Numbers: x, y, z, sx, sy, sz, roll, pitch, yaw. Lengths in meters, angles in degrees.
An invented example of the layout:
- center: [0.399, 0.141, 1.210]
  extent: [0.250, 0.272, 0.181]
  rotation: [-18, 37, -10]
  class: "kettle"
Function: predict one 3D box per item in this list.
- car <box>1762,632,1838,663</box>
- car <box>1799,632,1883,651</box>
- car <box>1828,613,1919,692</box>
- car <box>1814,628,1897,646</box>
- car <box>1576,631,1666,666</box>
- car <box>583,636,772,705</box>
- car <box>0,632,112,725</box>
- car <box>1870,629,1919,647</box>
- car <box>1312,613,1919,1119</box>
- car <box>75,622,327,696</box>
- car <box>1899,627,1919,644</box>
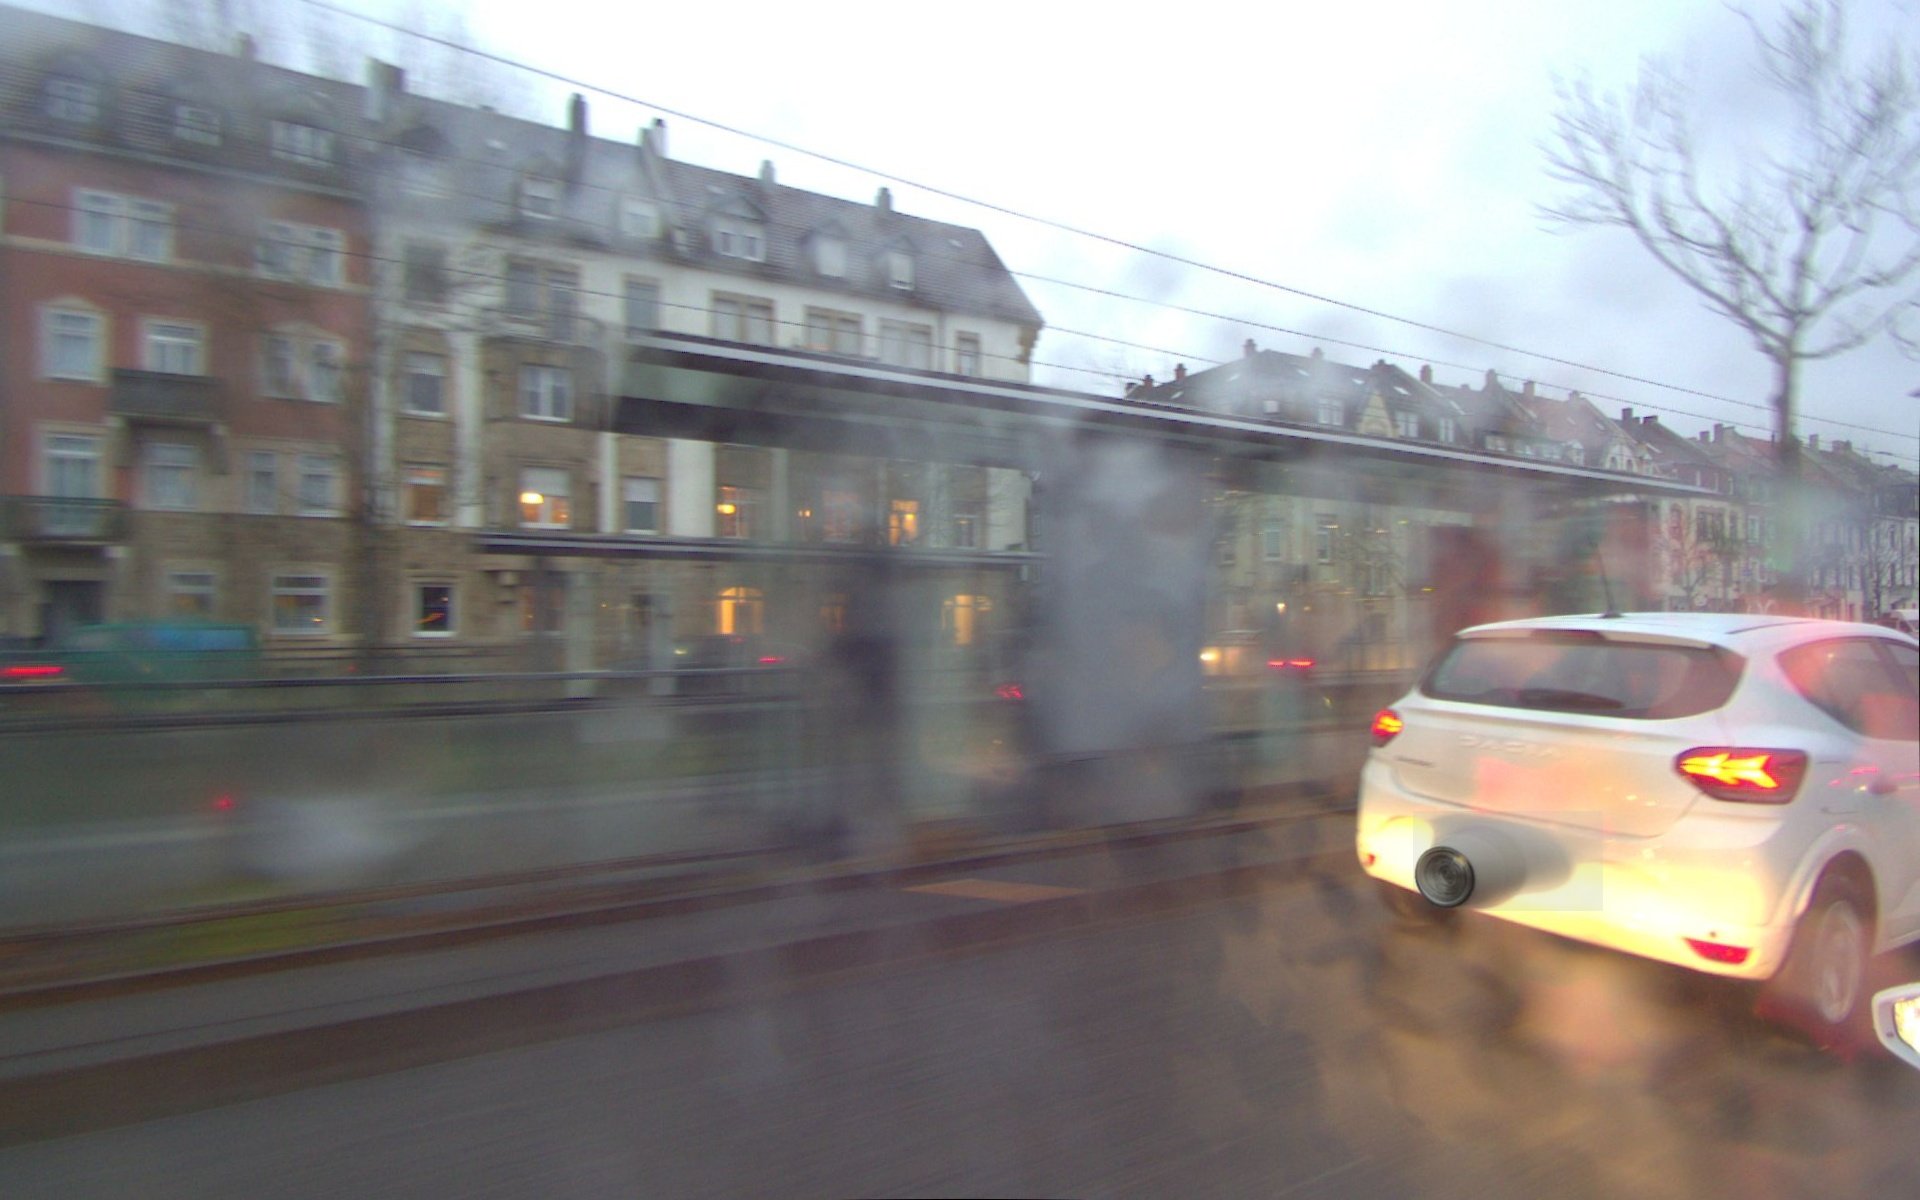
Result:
- center: [41.032, 2.319, 49.047]
  extent: [3.722, 1.416, 1.647]
  rotation: [1, -3, -30]
  class: "car"
- center: [56.874, 2.674, 64.912]
  extent: [1.626, 1.171, 3.765]
  rotation: [0, -3, -24]
  class: "car"
- center: [23.937, 1.287, 25.256]
  extent: [3.953, 1.847, 1.985]
  rotation: [1, -3, -30]
  class: "car"
- center: [59.254, 2.476, 66.526]
  extent: [1.626, 1.171, 3.765]
  rotation: [0, -3, -24]
  class: "car"
- center: [27.690, 2.015, 42.086]
  extent: [3.722, 1.416, 1.647]
  rotation: [1, -3, -30]
  class: "car"
- center: [-6.615, 1.601, 23.532]
  extent: [3.950, 1.461, 1.986]
  rotation: [1, -2, -28]
  class: "car"
- center: [-17.693, 1.378, 17.595]
  extent: [3.950, 1.572, 1.986]
  rotation: [1, -2, -28]
  class: "car"
- center: [65.787, 2.623, 69.576]
  extent: [1.626, 1.171, 3.765]
  rotation: [0, -3, -24]
  class: "car"
- center: [3.693, 0.831, 4.663]
  extent: [3.949, 1.506, 1.620]
  rotation: [0, -2, -28]
  class: "car"
- center: [-17.379, 1.312, 23.321]
  extent: [4.415, 1.557, 1.832]
  rotation: [1, -1, -30]
  class: "car"
- center: [70.979, 2.553, 72.882]
  extent: [1.626, 1.171, 3.765]
  rotation: [0, -3, -24]
  class: "car"
